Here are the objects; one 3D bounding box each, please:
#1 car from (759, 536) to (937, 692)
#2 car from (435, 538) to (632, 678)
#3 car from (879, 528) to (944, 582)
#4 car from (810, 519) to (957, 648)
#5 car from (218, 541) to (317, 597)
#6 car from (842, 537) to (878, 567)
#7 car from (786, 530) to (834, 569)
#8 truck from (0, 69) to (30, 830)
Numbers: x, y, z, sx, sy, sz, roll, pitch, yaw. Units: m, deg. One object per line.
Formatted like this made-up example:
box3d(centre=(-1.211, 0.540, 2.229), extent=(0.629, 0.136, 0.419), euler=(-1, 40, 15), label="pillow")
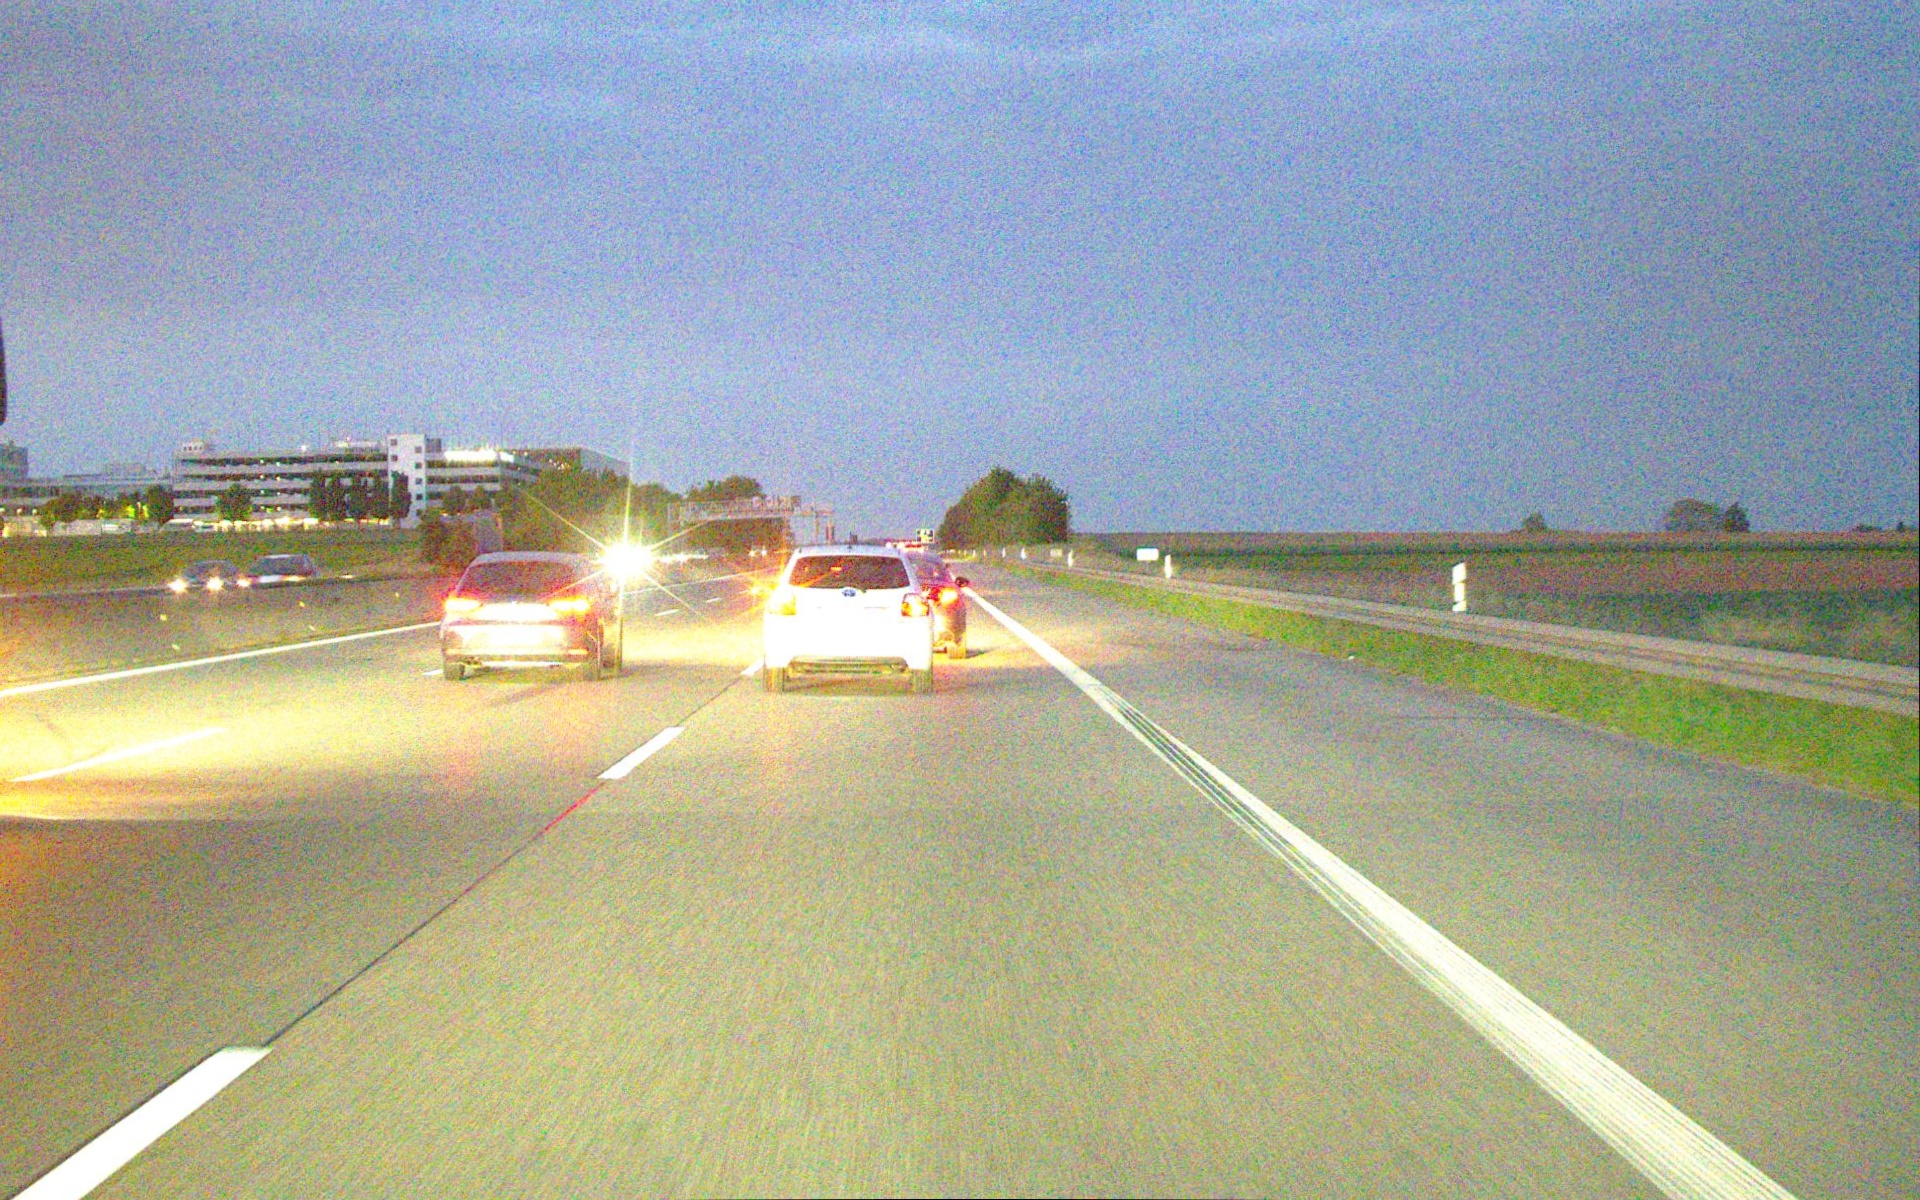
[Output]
box3d(centre=(-1.130, 0.123, 36.387), extent=(1.744, 1.519, 4.414), euler=(1, 0, 0), label="car")
box3d(centre=(-4.762, 0.070, 38.938), extent=(1.722, 1.466, 4.726), euler=(1, 0, -1), label="car")
box3d(centre=(-1.463, -1.314, 102.248), extent=(1.880, 1.547, 4.000), euler=(1, 0, -1), label="car")
box3d(centre=(-1.015, -0.227, 46.392), extent=(1.880, 1.637, 4.000), euler=(1, 0, -1), label="car")
box3d(centre=(-17.517, -0.785, 87.099), extent=(1.732, 1.365, 3.901), euler=(1, 0, -1), label="car")
box3d(centre=(-6.319, -3.043, 217.781), extent=(2.199, 1.873, 4.000), euler=(1, 0, -1), label="car")
box3d(centre=(-6.161, -2.067, 141.294), extent=(1.880, 1.547, 4.000), euler=(1, 0, -1), label="car")
box3d(centre=(-6.531, -0.784, 15.888), extent=(2.777, 4.079, 6.103), euler=(0, 0, 0), label="truck")
